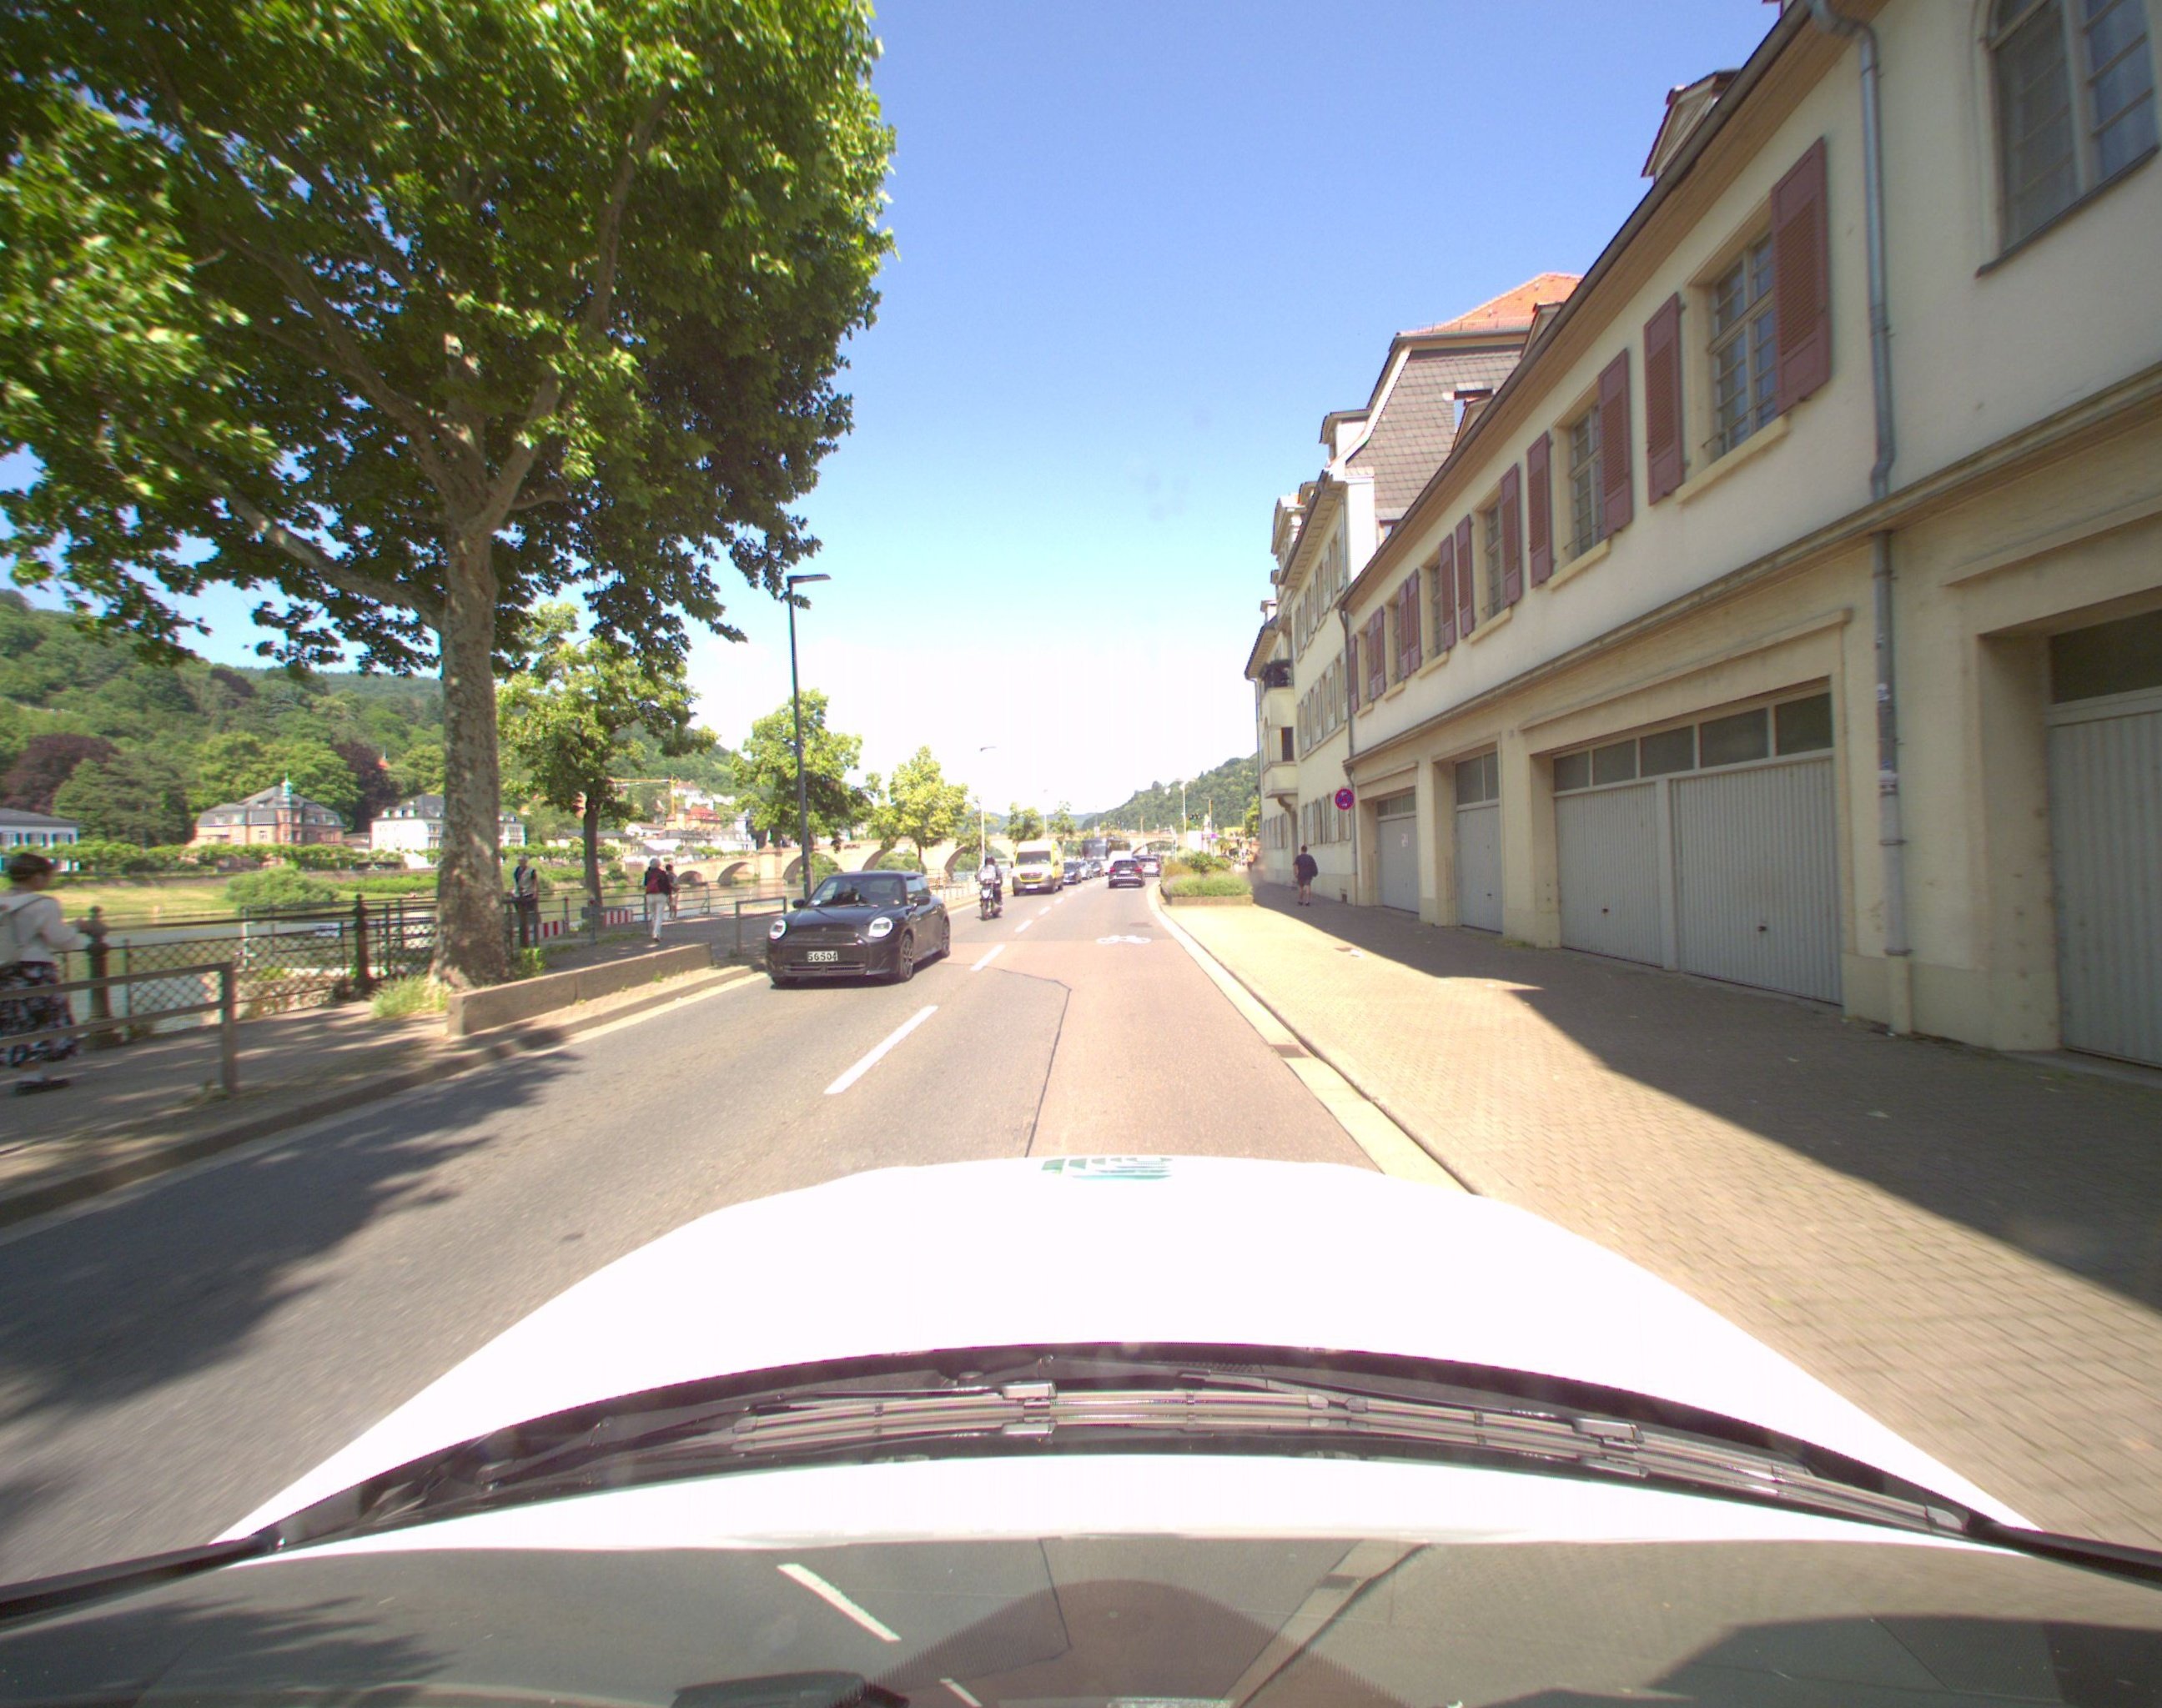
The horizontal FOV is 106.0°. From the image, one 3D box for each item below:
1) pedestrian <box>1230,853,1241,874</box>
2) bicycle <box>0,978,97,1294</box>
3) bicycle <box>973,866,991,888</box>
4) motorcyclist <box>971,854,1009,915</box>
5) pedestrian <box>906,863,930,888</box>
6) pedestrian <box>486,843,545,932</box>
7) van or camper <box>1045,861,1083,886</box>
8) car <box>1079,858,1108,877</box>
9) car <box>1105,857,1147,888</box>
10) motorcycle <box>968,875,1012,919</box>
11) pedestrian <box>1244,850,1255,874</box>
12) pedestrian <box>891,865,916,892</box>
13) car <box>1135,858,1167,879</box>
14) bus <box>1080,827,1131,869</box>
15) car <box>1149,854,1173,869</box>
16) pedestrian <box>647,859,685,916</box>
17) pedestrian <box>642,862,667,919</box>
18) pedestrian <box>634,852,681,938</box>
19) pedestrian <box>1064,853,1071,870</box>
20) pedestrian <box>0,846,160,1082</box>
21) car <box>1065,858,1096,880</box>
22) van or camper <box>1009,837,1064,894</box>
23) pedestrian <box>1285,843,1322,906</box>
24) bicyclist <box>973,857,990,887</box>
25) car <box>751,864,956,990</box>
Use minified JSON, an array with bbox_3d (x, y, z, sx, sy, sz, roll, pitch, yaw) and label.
[{"bbox_3d":[11.570,0.718,61.038,0.757,1.595,0.697,-1,-1,9],"label":"pedestrian"},{"bbox_3d":[-4.257,1.024,2.197,0.737,1.077,1.956,0,0,5],"label":"bicycle"},{"bbox_3d":[-5.689,1.326,46.897,0.708,1.168,1.897,-1,0,3],"label":"bicycle"},{"bbox_3d":[-2.487,0.817,22.252,0.876,1.583,1.025,-2,-1,0],"label":"motorcyclist"},{"bbox_3d":[-8.660,1.160,43.269,0.931,1.281,0.852,-2,-1,9],"label":"pedestrian"},{"bbox_3d":[-12.803,0.747,18.457,0.691,1.945,0.887,-2,-1,0],"label":"pedestrian"},{"bbox_3d":[-1.034,1.227,52.951,1.985,1.454,4.686,-3,-1,3],"label":"van or camper"},{"bbox_3d":[1.052,1.120,67.875,1.806,1.429,4.202,-3,0,8],"label":"car"},{"bbox_3d":[2.470,0.939,43.558,1.917,1.553,4.840,-2,0,6],"label":"car"},{"bbox_3d":[-2.438,1.150,22.141,0.880,1.077,2.327,-2,-1,0],"label":"motorcycle"},{"bbox_3d":[12.574,0.604,60.789,0.733,1.698,0.936,-2,-1,9],"label":"pedestrian"},{"bbox_3d":[-8.841,1.228,40.494,0.931,1.281,0.852,-2,-1,9],"label":"pedestrian"},{"bbox_3d":[5.365,1.071,62.222,1.914,1.461,4.846,-2,0,10],"label":"car"},{"bbox_3d":[2.521,-0.425,78.338,2.614,3.564,13.022,-2,-1,11],"label":"bus"},{"bbox_3d":[8.298,0.764,83.996,1.914,1.461,4.847,-2,-1,11],"label":"car"},{"bbox_3d":[-12.117,0.973,23.791,0.689,1.616,0.665,-2,-1,8],"label":"pedestrian"},{"bbox_3d":[-12.122,1.019,23.164,0.412,1.597,0.452,-2,-1,8],"label":"pedestrian"},{"bbox_3d":[-8.511,0.814,16.388,0.658,1.682,0.754,1,-1,-17],"label":"pedestrian"},{"bbox_3d":[-1.419,0.761,85.088,0.617,1.780,0.664,-1,-1,9],"label":"pedestrian"},{"bbox_3d":[-7.412,0.752,5.857,0.759,1.586,0.696,-2,-1,0],"label":"pedestrian"},{"bbox_3d":[-0.030,1.113,62.025,1.804,1.428,4.318,-3,0,6],"label":"car"},{"bbox_3d":[-2.097,0.556,40.698,2.079,2.557,7.095,-1,-1,2],"label":"van or camper"},{"bbox_3d":[6.251,0.572,22.925,0.758,1.713,0.696,-5,-1,4],"label":"pedestrian"},{"bbox_3d":[-5.696,1.049,46.771,0.737,1.667,1.090,-2,0,3],"label":"bicyclist"},{"bbox_3d":[-3.043,0.900,11.770,1.695,1.458,4.003,-2,-1,1],"label":"car"}]
